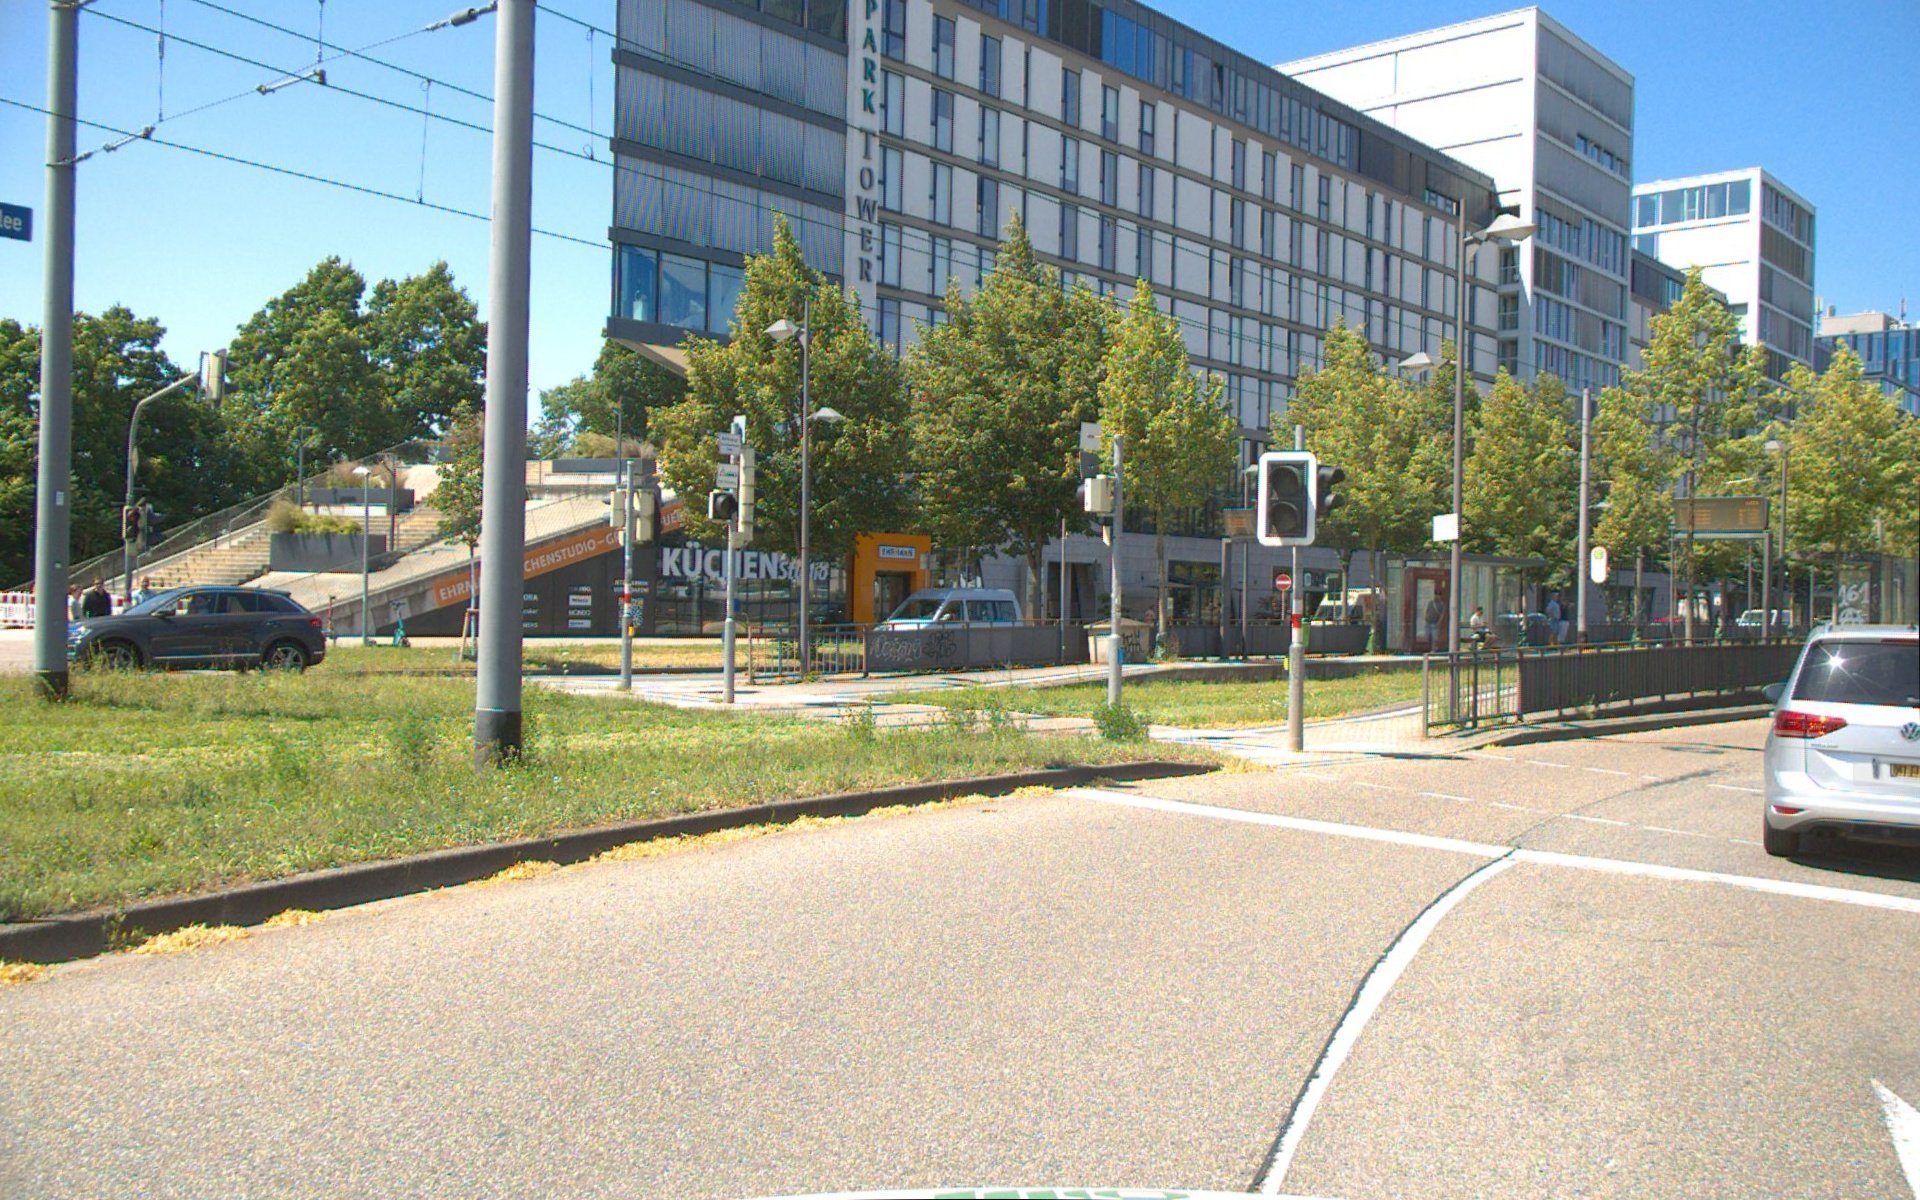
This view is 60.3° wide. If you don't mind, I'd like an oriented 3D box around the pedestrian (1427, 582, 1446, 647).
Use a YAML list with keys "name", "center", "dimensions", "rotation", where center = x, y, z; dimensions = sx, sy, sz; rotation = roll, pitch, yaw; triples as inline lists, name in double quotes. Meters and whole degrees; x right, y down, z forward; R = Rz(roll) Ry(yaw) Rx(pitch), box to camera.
- name: "pedestrian"
  center: [13.090, 0.399, 45.398]
  dimensions: [0.455, 1.769, 0.479]
  rotation: [1, 0, 14]

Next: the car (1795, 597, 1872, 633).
- name: "car"
  center: [46.520, 0.784, 88.033]
  dimensions: [2.427, 1.837, 5.038]
  rotation: [1, 0, 43]

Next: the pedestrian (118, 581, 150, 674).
- name: "pedestrian"
  center: [-15.830, 0.528, 31.707]
  dimensions: [0.286, 1.769, 0.446]
  rotation: [1, 0, 41]

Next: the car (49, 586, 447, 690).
- name: "car"
  center: [-11.738, 0.610, 27.622]
  dimensions: [5.791, 1.544, 1.968]
  rotation: [1, 0, -44]

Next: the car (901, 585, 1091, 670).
- name: "car"
  center: [1.055, 0.719, 44.660]
  dimensions: [1.966, 2.143, 5.505]
  rotation: [1, 0, 43]

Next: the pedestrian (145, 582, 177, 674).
- name: "pedestrian"
  center: [-15.531, 0.542, 32.145]
  dimensions: [0.286, 1.769, 0.446]
  rotation: [1, 0, 41]

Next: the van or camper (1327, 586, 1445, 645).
- name: "van or camper"
  center: [18.868, 0.673, 72.979]
  dimensions: [2.146, 2.428, 6.730]
  rotation: [1, 0, 42]

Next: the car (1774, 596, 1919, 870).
- name: "car"
  center: [7.216, 0.881, 12.281]
  dimensions: [1.767, 1.677, 4.595]
  rotation: [2, 0, 30]

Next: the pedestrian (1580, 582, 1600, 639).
- name: "pedestrian"
  center: [19.984, 0.330, 52.458]
  dimensions: [0.403, 1.782, 0.583]
  rotation: [1, 0, 39]

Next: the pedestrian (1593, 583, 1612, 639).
- name: "pedestrian"
  center: [20.569, 0.352, 52.959]
  dimensions: [0.403, 1.782, 0.583]
  rotation: [1, 0, 39]

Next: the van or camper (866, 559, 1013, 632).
- name: "van or camper"
  center: [-0.775, -0.144, 69.073]
  dimensions: [2.339, 2.871, 6.751]
  rotation: [1, 0, 40]

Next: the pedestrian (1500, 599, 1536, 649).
- name: "pedestrian"
  center: [16.591, 0.714, 49.185]
  dimensions: [0.822, 1.438, 0.638]
  rotation: [1, 0, 42]
